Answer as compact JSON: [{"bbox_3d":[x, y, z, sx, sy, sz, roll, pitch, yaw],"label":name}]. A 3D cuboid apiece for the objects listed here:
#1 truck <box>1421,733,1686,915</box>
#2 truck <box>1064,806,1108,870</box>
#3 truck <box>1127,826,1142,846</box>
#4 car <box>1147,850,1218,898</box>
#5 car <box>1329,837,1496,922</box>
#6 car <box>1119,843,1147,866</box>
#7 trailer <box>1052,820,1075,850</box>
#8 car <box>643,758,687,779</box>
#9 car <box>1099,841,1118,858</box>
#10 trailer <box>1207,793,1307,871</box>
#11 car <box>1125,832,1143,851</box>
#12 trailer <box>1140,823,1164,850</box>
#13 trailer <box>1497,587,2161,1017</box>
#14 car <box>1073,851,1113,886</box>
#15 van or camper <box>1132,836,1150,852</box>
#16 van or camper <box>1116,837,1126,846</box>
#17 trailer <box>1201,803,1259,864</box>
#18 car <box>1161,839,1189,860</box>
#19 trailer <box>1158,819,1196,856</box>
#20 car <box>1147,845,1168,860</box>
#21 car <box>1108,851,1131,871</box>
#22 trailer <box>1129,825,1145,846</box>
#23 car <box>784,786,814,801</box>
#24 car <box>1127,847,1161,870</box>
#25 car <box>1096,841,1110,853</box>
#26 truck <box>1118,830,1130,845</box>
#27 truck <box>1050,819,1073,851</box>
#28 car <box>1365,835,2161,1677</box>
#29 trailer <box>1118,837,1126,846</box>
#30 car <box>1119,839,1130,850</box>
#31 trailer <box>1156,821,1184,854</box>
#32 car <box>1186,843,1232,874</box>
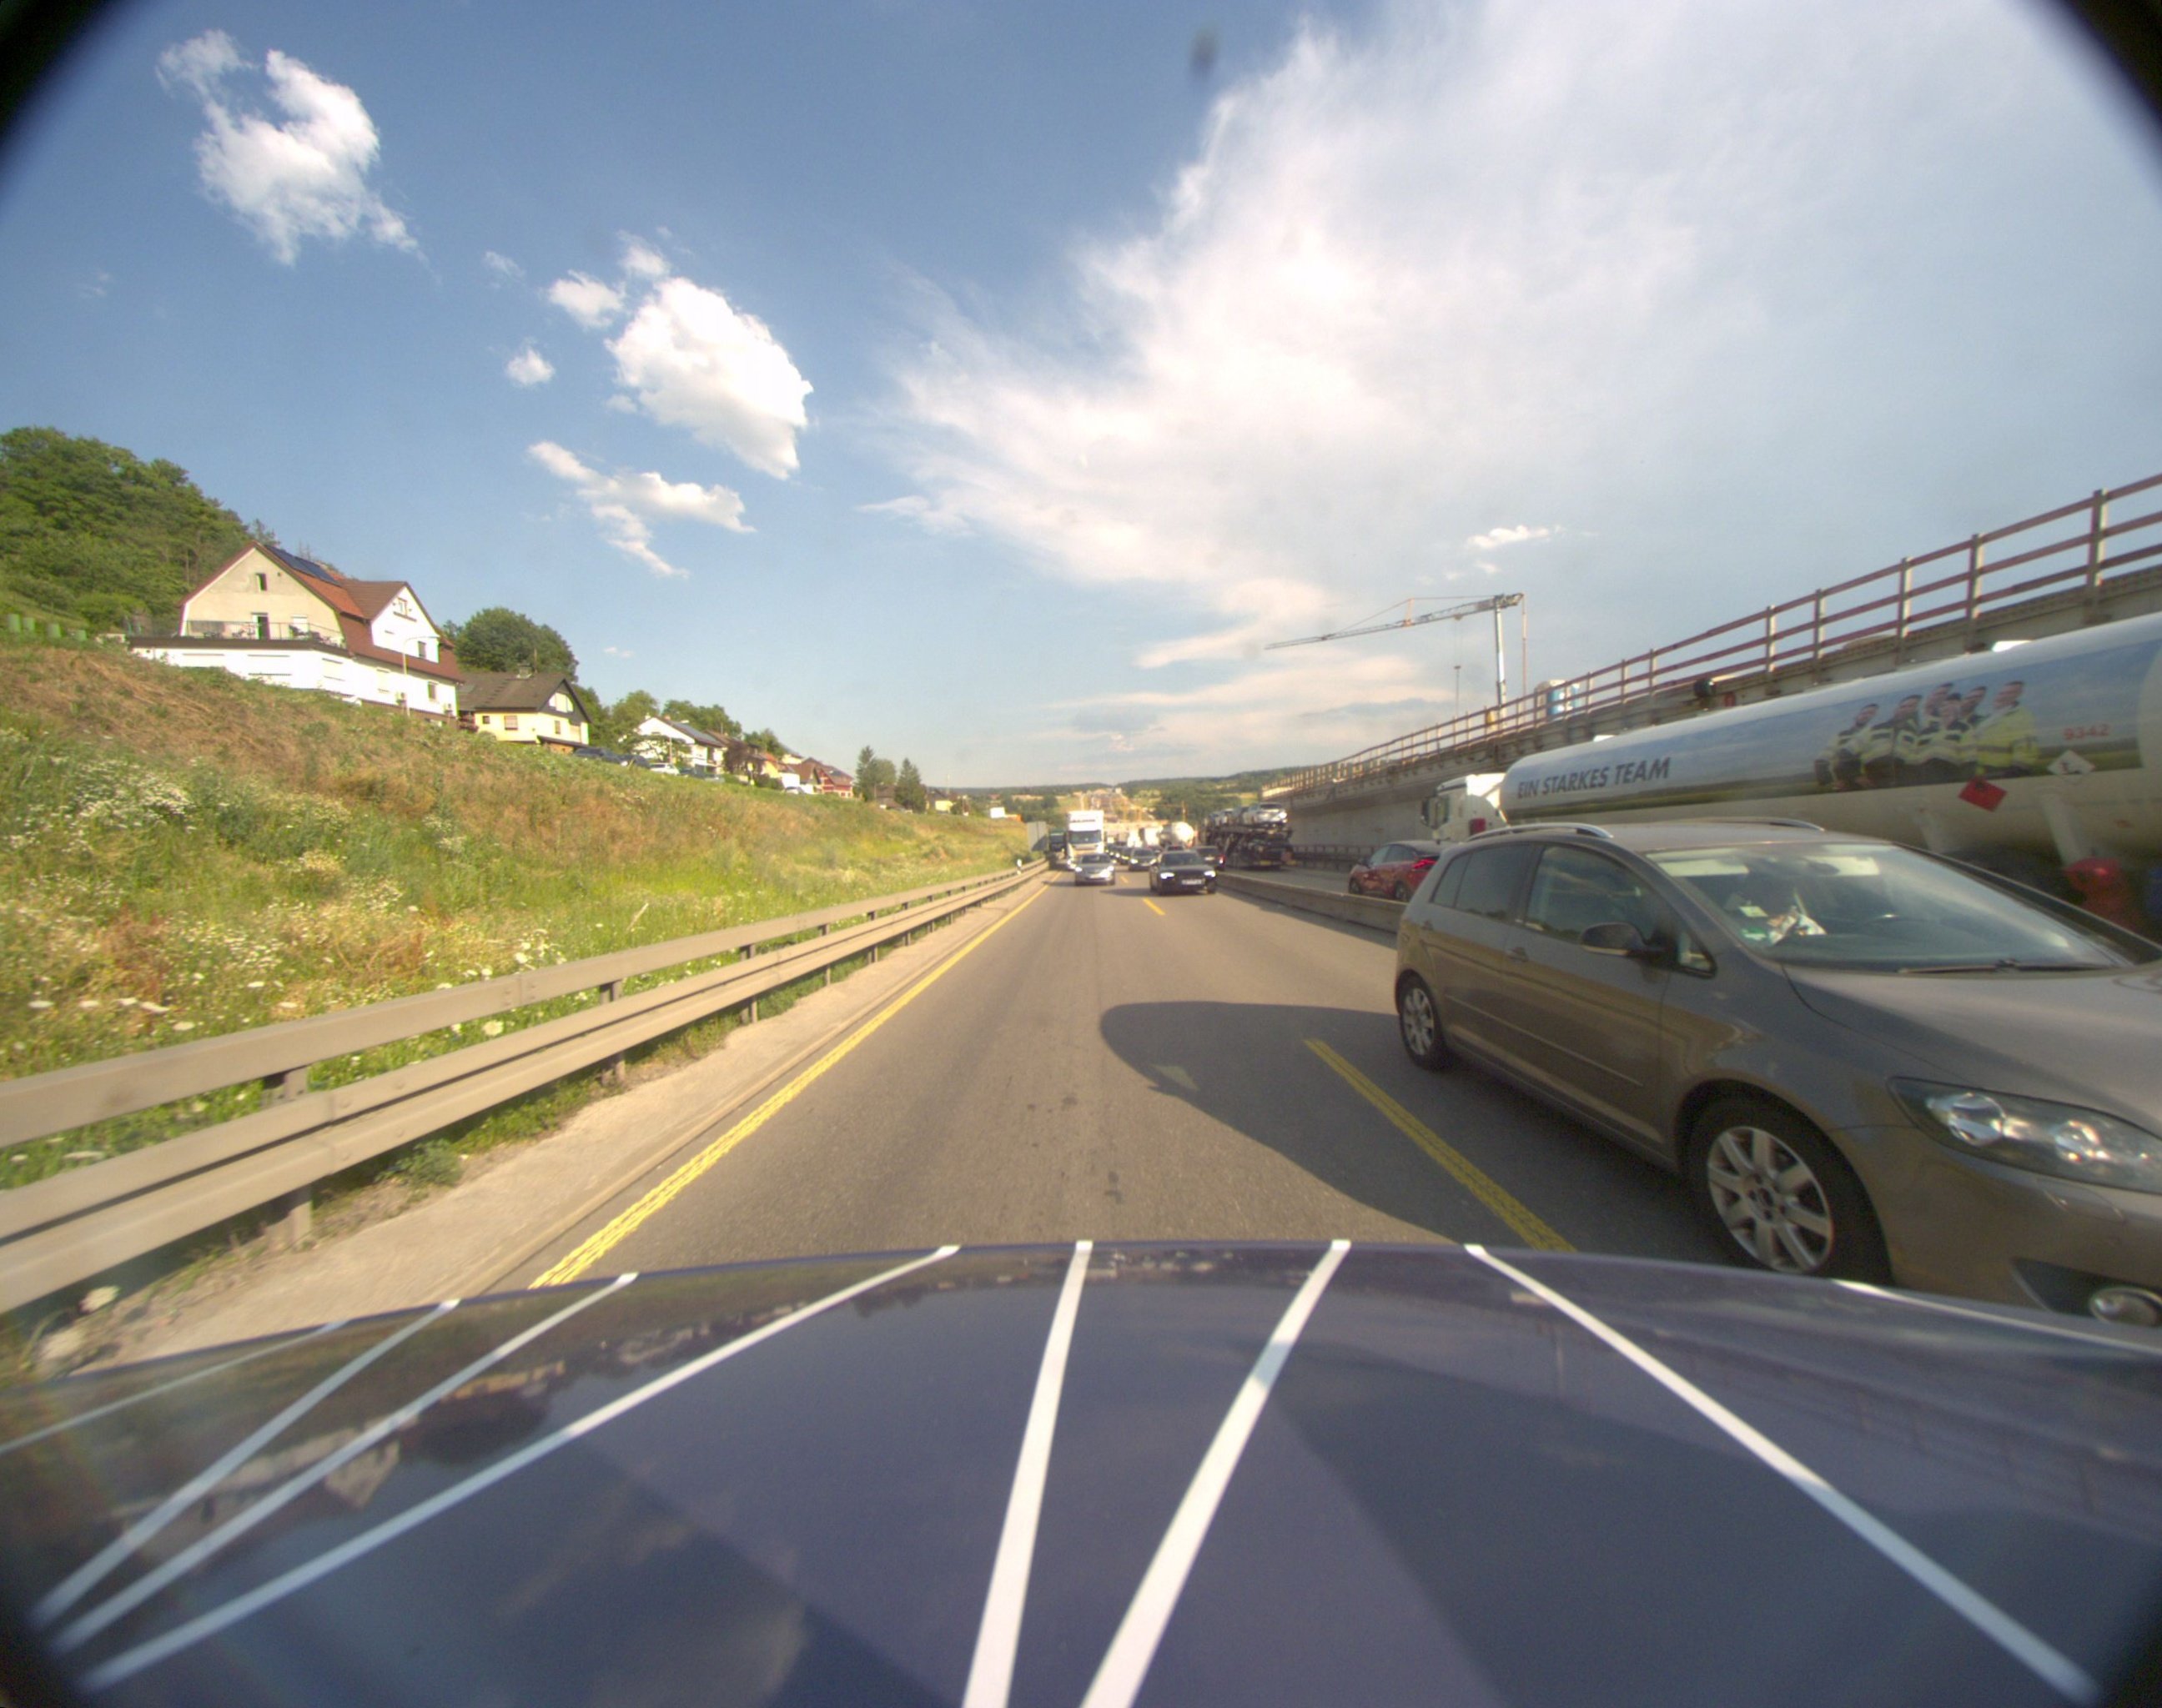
[{"bbox_3d":[10.293,-0.628,17.314,2.555,3.390,5.530,-2,1,0],"label":"truck"},{"bbox_3d":[0.428,-1.190,55.914,2.741,4.034,12.668,-2,1,1],"label":"truck"},{"bbox_3d":[12.099,-4.152,172.484,2.834,4.239,10.070,-2,1,1],"label":"truck"},{"bbox_3d":[3.383,0.618,26.016,1.873,1.411,4.348,-1,1,1],"label":"car"},{"bbox_3d":[6.988,0.470,16.539,1.730,1.548,4.296,-2,0,0],"label":"car"},{"bbox_3d":[4.161,0.003,61.049,1.998,1.740,3.999,-1,1,0],"label":"car"},{"bbox_3d":[-2.408,-2.643,107.981,2.554,3.911,12.076,-2,1,1],"label":"trailer"},{"bbox_3d":[-32.013,-6.544,58.583,1.347,1.225,3.899,-2,1,-2],"label":"car"},{"bbox_3d":[3.073,-0.482,84.438,1.918,1.746,3.999,-1,0,0],"label":"car"},{"bbox_3d":[10.531,-1.323,47.713,2.778,4.008,15.760,-2,1,1],"label":"trailer"},{"bbox_3d":[8.005,-1.907,115.494,1.999,2.608,7.407,-2,1,-2],"label":"car"},{"bbox_3d":[11.680,-2.895,126.324,2.932,4.014,13.771,-2,1,1],"label":"trailer"},{"bbox_3d":[10.185,-0.568,10.987,2.563,3.506,10.679,-2,1,1],"label":"trailer"},{"bbox_3d":[0.536,0.621,34.175,1.671,1.425,3.523,-1,1,1],"label":"car"},{"bbox_3d":[7.860,-1.307,100.658,1.863,2.002,5.294,-2,1,-1],"label":"van or camper"},{"bbox_3d":[8.805,-2.847,166.521,1.868,1.882,5.002,-2,1,1],"label":"van or camper"},{"bbox_3d":[10.655,-1.490,55.176,2.778,4.008,7.206,-2,1,1],"label":"trailer"},{"bbox_3d":[7.619,-0.386,62.176,1.761,1.569,4.338,-2,1,1],"label":"car"},{"bbox_3d":[11.044,-1.944,88.958,2.659,3.828,13.439,-2,1,0],"label":"trailer"},{"bbox_3d":[7.873,-0.198,78.383,1.713,1.437,4.599,-2,1,1],"label":"car"},{"bbox_3d":[3.490,0.615,69.882,1.918,1.746,3.999,-1,0,0],"label":"car"},{"bbox_3d":[11.945,-3.977,163.038,2.834,4.259,8.733,-2,1,1],"label":"trailer"},{"bbox_3d":[-34.221,-7.328,92.339,1.998,1.434,3.999,-2,1,1],"label":"car"},{"bbox_3d":[3.939,0.242,47.919,1.692,1.294,3.882,-2,1,-1],"label":"car"},{"bbox_3d":[2.895,-0.978,101.897,1.720,1.469,3.727,-2,1,0],"label":"car"},{"bbox_3d":[12.095,-4.735,215.222,2.873,4.038,7.597,-2,1,1],"label":"truck"},{"bbox_3d":[-2.573,-2.540,100.388,2.547,3.993,6.070,-2,1,1],"label":"truck"},{"bbox_3d":[2.933,0.729,3.487,1.685,1.579,4.270,-1,2,0],"label":"car"},{"bbox_3d":[8.723,-2.693,162.516,1.452,1.843,2.983,-2,1,1],"label":"trailer"},{"bbox_3d":[8.198,-1.810,143.184,1.785,1.833,4.852,-2,1,1],"label":"car"},{"bbox_3d":[11.087,-2.083,95.223,2.659,3.829,6.427,-2,1,0],"label":"trailer"},{"bbox_3d":[7.112,0.196,42.652,1.770,1.543,4.835,-2,1,0],"label":"car"}]
